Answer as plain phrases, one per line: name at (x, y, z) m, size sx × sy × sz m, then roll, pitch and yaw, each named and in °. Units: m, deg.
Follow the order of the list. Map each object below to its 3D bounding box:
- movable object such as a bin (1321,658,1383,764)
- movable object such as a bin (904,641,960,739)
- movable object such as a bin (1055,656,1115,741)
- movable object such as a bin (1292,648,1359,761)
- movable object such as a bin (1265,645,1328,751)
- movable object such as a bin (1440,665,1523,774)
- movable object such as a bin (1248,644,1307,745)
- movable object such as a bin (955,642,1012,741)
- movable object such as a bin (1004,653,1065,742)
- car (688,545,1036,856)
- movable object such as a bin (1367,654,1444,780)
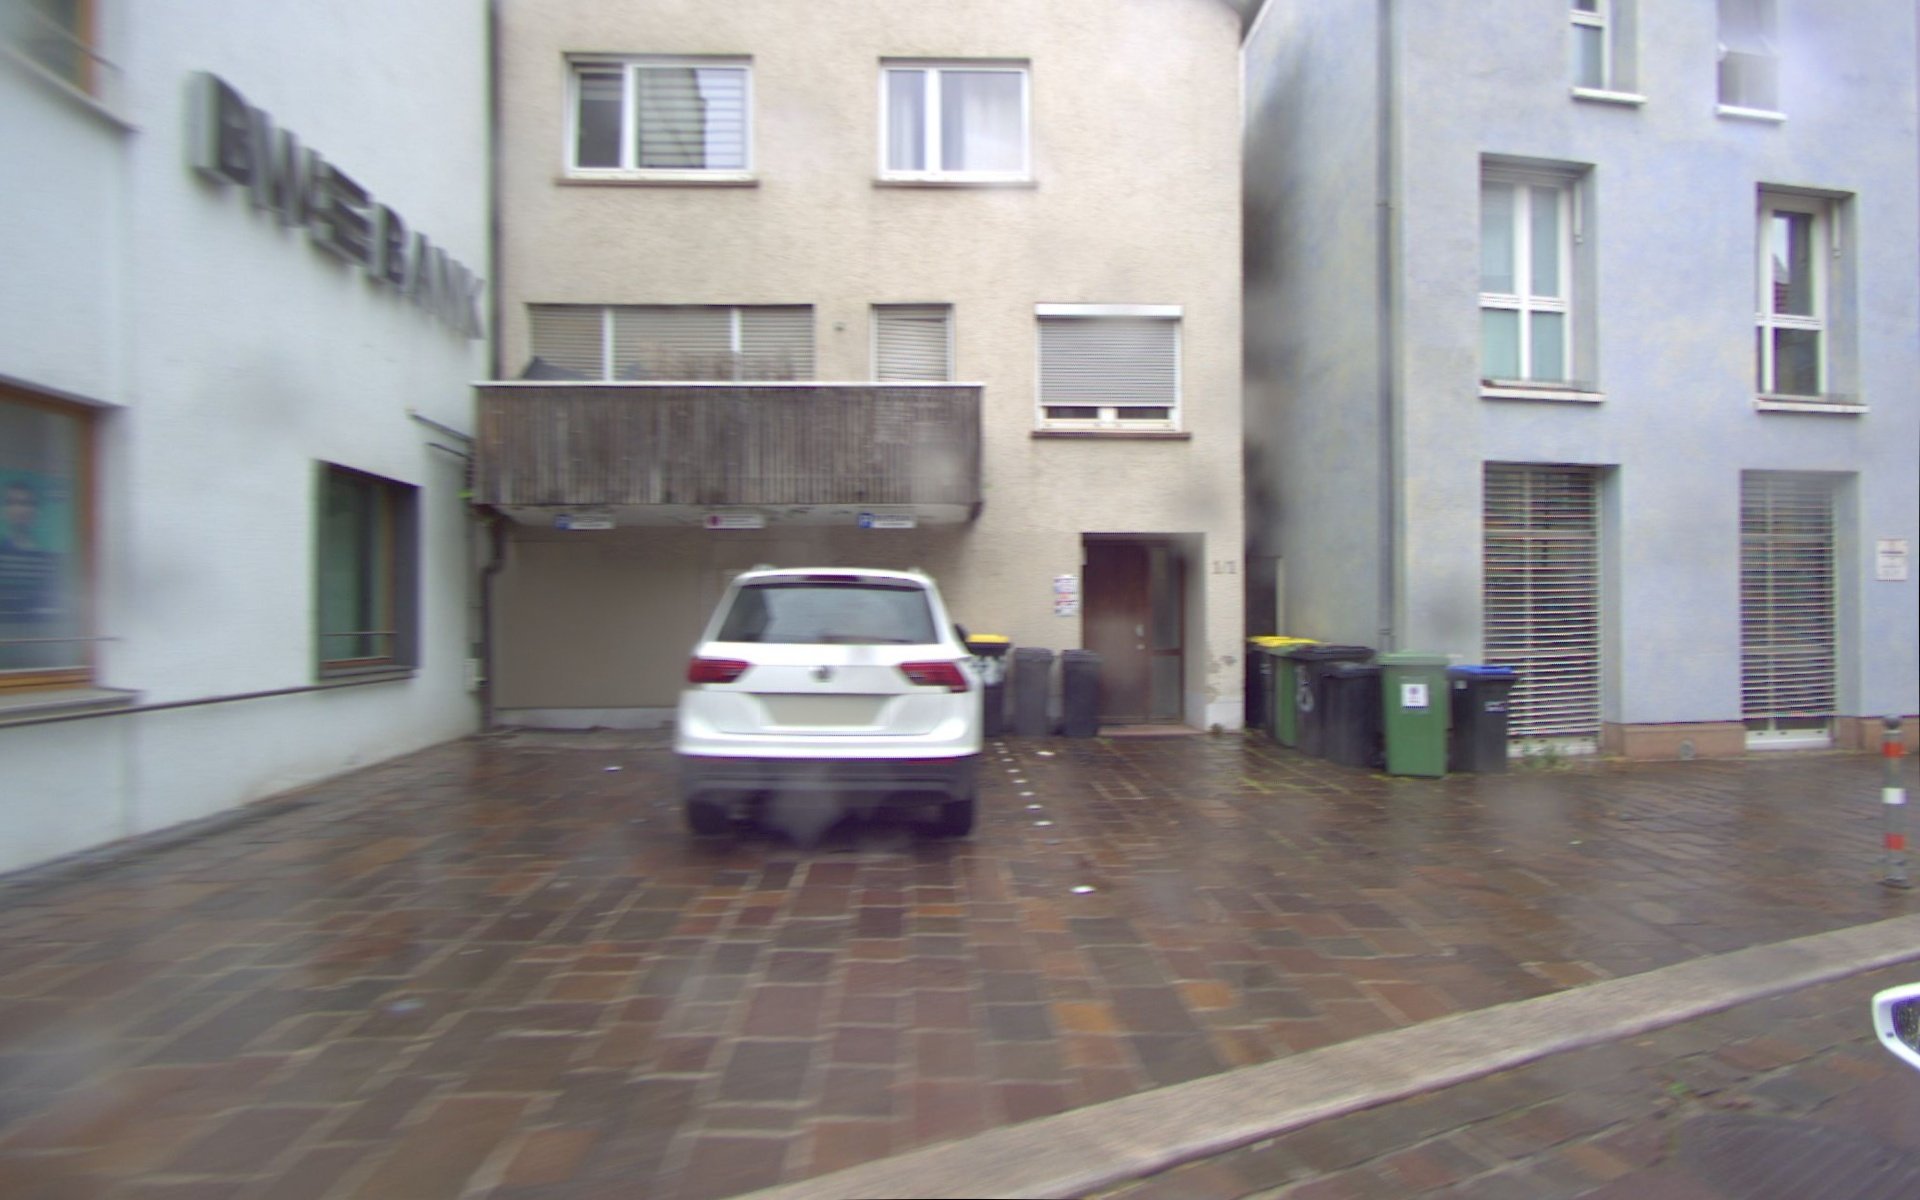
movable object such as a bin at (3.596, 1.008, 9.222) m, size 0.379 × 0.927 × 0.437 m, roll 2°, pitch -1°, yaw 1°
movable object such as a bin at (-0.305, 0.961, 10.819) m, size 0.520 × 1.003 × 0.542 m, roll 2°, pitch -1°, yaw -8°
movable object such as a bin at (1.364, 1.072, 11.041) m, size 0.520 × 0.880 × 0.542 m, roll 2°, pitch -1°, yaw -6°
movable object such as a bin at (3.525, 0.995, 9.708) m, size 0.464 × 1.041 × 0.476 m, roll 2°, pitch -1°, yaw 2°
movable object such as a bin at (3.464, 1.000, 10.359) m, size 0.464 × 1.041 × 0.476 m, roll 2°, pitch -1°, yaw -1°
movable object such as a bin at (4.605, 1.045, 8.885) m, size 0.443 × 0.907 × 0.459 m, roll 2°, pitch -1°, yaw -21°
movable object such as a bin at (3.445, 1.017, 10.906) m, size 0.464 × 1.041 × 0.476 m, roll 2°, pitch -1°, yaw -1°
movable object such as a bin at (0.247, 0.979, 10.857) m, size 0.520 × 1.025 × 0.542 m, roll 2°, pitch -1°, yaw -8°
movable object such as a bin at (0.808, 1.057, 10.997) m, size 0.555 × 0.907 × 0.590 m, roll 2°, pitch -1°, yaw -5°
car at (-0.599, 0.572, 7.336) m, size 1.797 × 1.604 × 3.998 m, roll 2°, pitch -1°, yaw -3°
movable object such as a bin at (3.822, 0.986, 8.619) m, size 0.562 × 1.002 × 0.488 m, roll 1°, pitch -1°, yaw 25°
